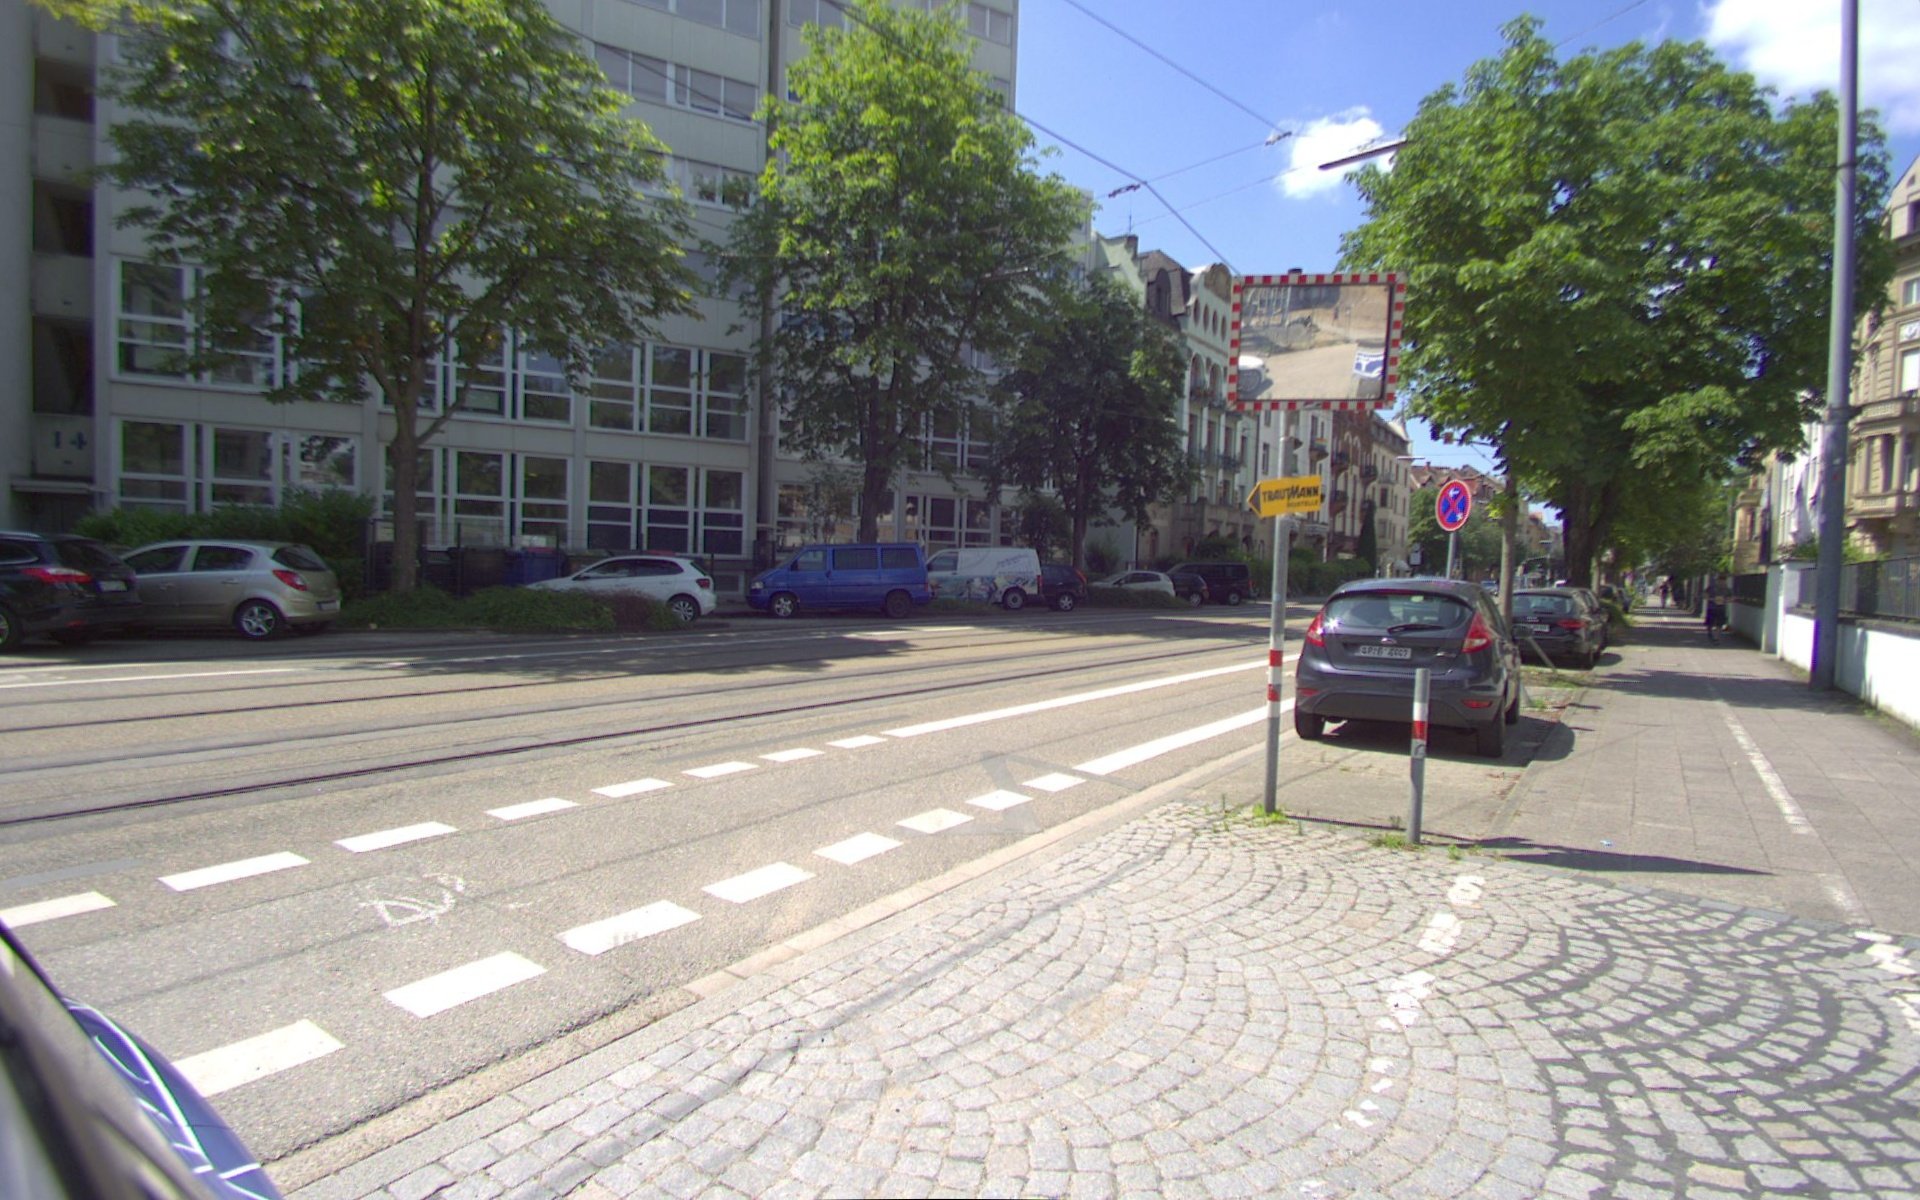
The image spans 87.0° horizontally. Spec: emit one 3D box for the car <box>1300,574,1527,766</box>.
[{"bbox_3d":[4.498,0.541,9.742,1.583,1.467,3.687,0,0,31],"label":"car"}]

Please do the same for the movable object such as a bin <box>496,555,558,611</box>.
[{"bbox_3d":[-10.662,-0.415,24.926,0.969,1.340,1.064,2,1,36],"label":"movable object such as a bin"}]

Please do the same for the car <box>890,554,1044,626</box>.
[{"bbox_3d":[0.159,-0.310,31.257,4.562,2.029,2.001,2,1,-3],"label":"car"}]

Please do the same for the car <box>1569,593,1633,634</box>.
[{"bbox_3d":[27.405,0.534,43.222,1.729,1.626,3.945,2,1,41],"label":"car"}]

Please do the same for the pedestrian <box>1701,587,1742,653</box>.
[{"bbox_3d":[18.585,0.476,24.715,0.695,1.579,0.736,2,1,33],"label":"pedestrian"}]

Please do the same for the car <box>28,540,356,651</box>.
[{"bbox_3d":[-11.305,-0.065,15.154,3.482,1.473,1.758,2,1,-12],"label":"car"}]

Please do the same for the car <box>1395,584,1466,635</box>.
[{"bbox_3d":[16.867,0.333,36.195,1.603,1.664,3.953,4,1,34],"label":"car"}]

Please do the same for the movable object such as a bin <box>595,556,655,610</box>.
[{"bbox_3d":[-9.046,-0.454,27.354,1.038,1.409,1.165,2,1,43],"label":"movable object such as a bin"}]

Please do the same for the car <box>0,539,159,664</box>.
[{"bbox_3d":[-12.878,-0.038,12.674,4.128,1.481,1.758,1,1,-12],"label":"car"}]

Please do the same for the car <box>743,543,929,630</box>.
[{"bbox_3d":[-3.232,-0.350,26.175,4.555,2.029,2.005,2,1,-11],"label":"car"}]

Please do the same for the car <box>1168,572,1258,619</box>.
[{"bbox_3d":[11.888,-0.246,47.523,3.967,2.029,1.989,2,1,18],"label":"car"}]

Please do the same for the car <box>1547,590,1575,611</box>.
[{"bbox_3d":[50.322,0.042,84.729,1.675,1.732,3.952,3,1,35],"label":"car"}]

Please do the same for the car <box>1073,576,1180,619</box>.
[{"bbox_3d":[6.944,-0.115,42.270,3.934,1.397,1.755,4,3,-12],"label":"car"}]

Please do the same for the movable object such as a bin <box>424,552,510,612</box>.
[{"bbox_3d":[-11.493,-0.411,23.607,1.124,1.340,1.434,2,1,36],"label":"movable object such as a bin"}]

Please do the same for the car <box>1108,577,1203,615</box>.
[{"bbox_3d":[8.825,-0.189,45.626,3.967,1.519,1.937,2,1,18],"label":"car"}]

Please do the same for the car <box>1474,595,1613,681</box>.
[{"bbox_3d":[11.413,0.647,19.666,1.881,1.429,4.099,2,1,36],"label":"car"}]

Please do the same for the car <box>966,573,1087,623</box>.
[{"bbox_3d":[2.185,-0.087,34.091,3.944,1.497,1.670,2,1,1],"label":"car"}]

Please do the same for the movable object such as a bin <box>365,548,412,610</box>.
[{"bbox_3d":[-13.233,-0.485,23.444,0.791,1.416,0.768,1,1,-41],"label":"movable object such as a bin"}]

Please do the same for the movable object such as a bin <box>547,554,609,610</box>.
[{"bbox_3d":[-9.898,-0.455,26.242,1.038,1.409,1.165,2,1,43],"label":"movable object such as a bin"}]

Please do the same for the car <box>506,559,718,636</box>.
[{"bbox_3d":[-7.019,-0.055,20.808,3.915,1.424,1.719,2,1,-12],"label":"car"}]

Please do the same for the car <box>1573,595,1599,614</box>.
[{"bbox_3d":[58.086,0.413,93.911,1.760,1.732,3.952,3,1,35],"label":"car"}]

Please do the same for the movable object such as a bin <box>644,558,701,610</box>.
[{"bbox_3d":[-8.122,-0.454,28.552,1.038,1.409,1.165,2,1,43],"label":"movable object such as a bin"}]

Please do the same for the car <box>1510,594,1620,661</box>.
[{"bbox_3d":[14.977,0.623,24.979,1.949,1.454,3.726,2,1,37],"label":"car"}]
